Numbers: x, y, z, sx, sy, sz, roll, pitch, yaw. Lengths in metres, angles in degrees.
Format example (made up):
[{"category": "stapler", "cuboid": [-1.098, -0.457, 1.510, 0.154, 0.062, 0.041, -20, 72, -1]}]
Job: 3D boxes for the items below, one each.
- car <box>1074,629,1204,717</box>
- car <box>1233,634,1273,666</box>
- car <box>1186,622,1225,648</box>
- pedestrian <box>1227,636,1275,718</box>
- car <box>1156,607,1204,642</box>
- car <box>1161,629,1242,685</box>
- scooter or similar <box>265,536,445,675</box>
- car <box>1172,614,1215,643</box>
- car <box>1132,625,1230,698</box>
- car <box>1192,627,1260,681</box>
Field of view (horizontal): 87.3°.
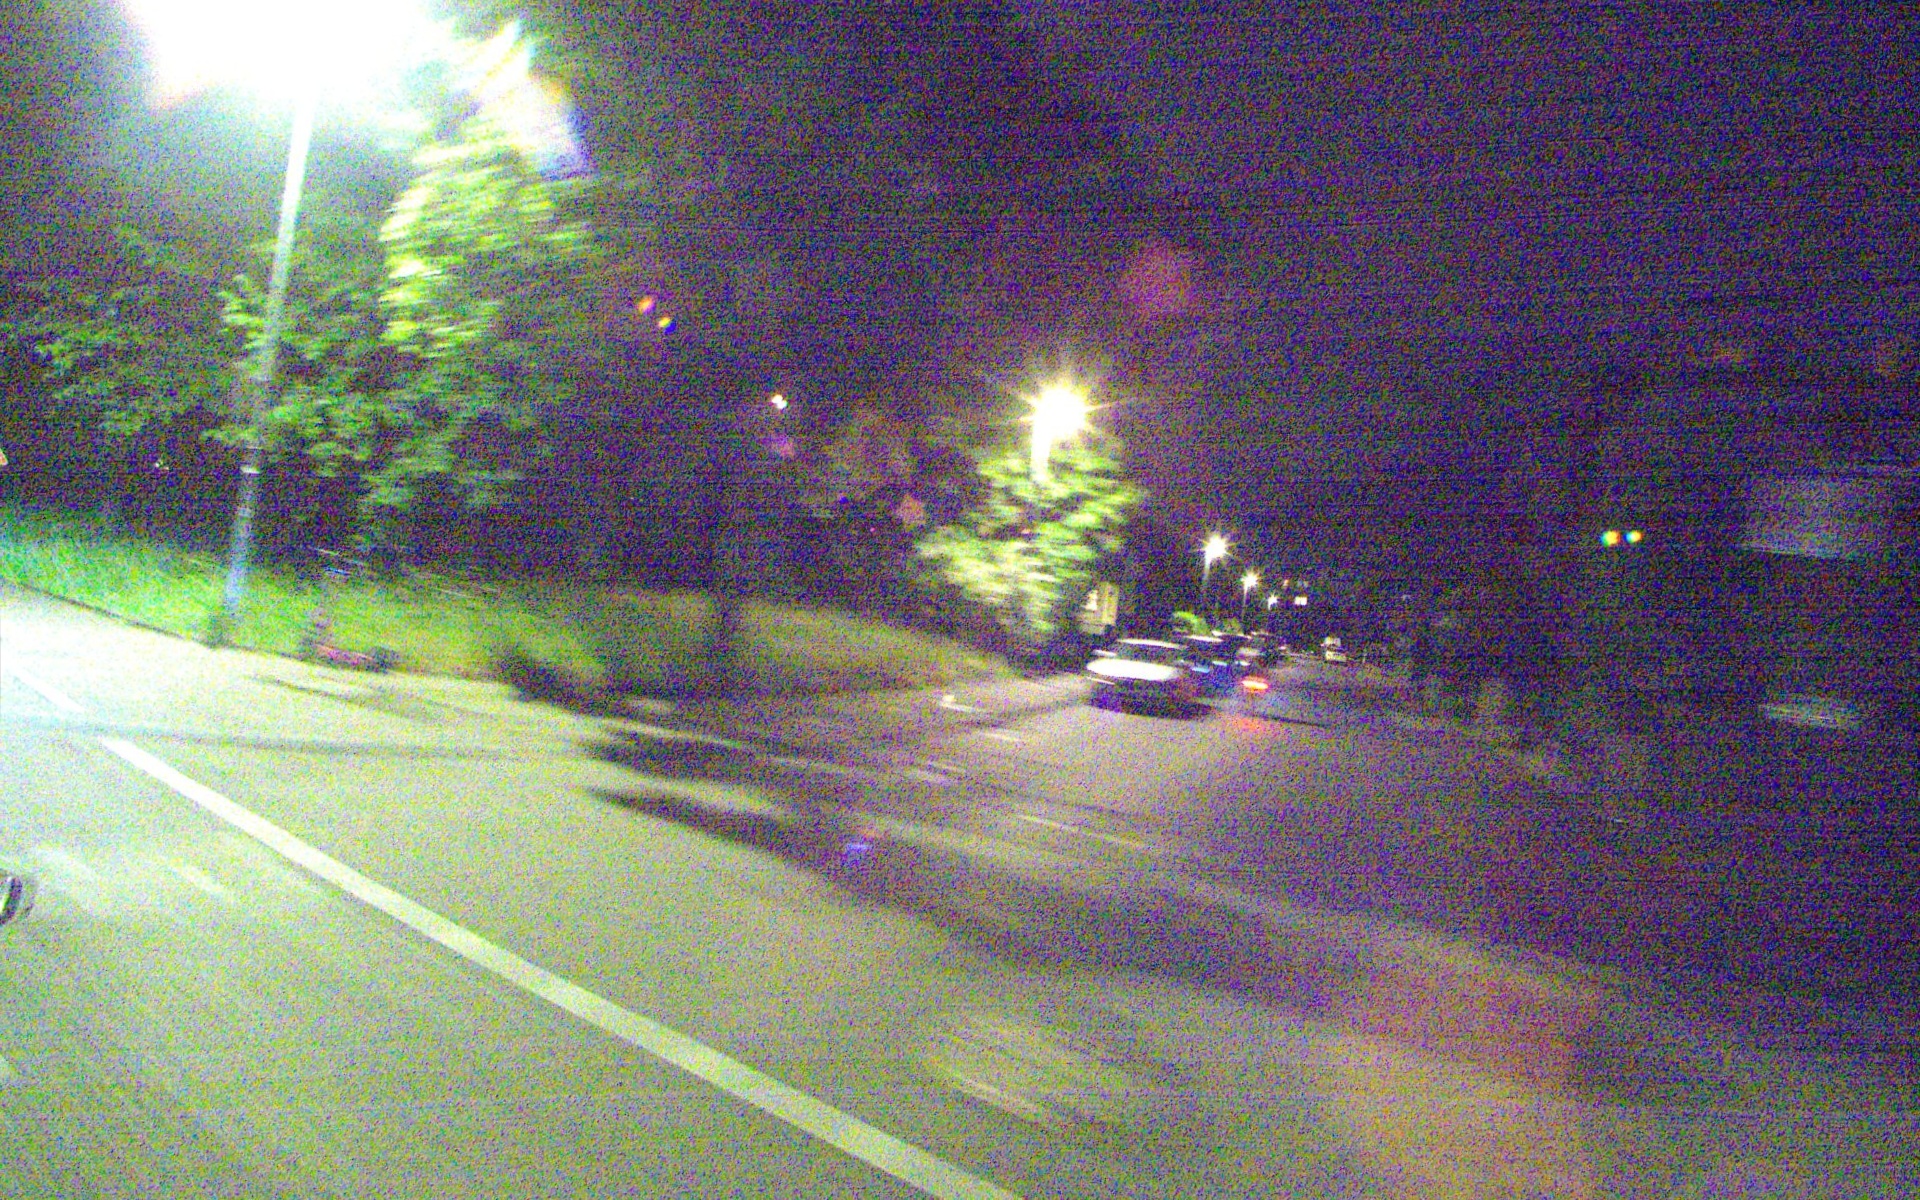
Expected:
[{"category": "car", "cuboid": [3.894, 1.495, 21.367, 1.910, 1.471, 3.900, 6, 0, 20]}, {"category": "car", "cuboid": [15.840, 2.697, 54.319, 1.632, 1.471, 4.000, 6, 0, 20]}, {"category": "car", "cuboid": [16.667, 2.417, 68.167, 1.963, 1.471, 4.000, 6, 0, 20]}, {"category": "pedestrian", "cuboid": [6.465, 1.697, 22.390, 0.670, 1.697, 1.335, 8, 0, 10]}, {"category": "car", "cuboid": [12.627, 1.452, 57.623, 1.963, 1.693, 4.000, 6, 0, 20]}, {"category": "car", "cuboid": [7.877, 1.842, 32.593, 1.963, 1.471, 4.000, 6, 0, 20]}, {"category": "scooter or similar", "cuboid": [-6.754, 0.068, 11.238, 1.658, 1.296, 0.614, 8, -1, 16]}, {"category": "car", "cuboid": [14.367, 1.770, 61.740, 1.963, 1.471, 4.000, 6, 0, 20]}, {"category": "car", "cuboid": [6.206, 1.675, 27.927, 1.963, 1.652, 4.000, 6, 0, 20]}, {"category": "car", "cuboid": [10.052, 2.018, 37.802, 1.963, 1.671, 4.000, 6, 0, 20]}]
